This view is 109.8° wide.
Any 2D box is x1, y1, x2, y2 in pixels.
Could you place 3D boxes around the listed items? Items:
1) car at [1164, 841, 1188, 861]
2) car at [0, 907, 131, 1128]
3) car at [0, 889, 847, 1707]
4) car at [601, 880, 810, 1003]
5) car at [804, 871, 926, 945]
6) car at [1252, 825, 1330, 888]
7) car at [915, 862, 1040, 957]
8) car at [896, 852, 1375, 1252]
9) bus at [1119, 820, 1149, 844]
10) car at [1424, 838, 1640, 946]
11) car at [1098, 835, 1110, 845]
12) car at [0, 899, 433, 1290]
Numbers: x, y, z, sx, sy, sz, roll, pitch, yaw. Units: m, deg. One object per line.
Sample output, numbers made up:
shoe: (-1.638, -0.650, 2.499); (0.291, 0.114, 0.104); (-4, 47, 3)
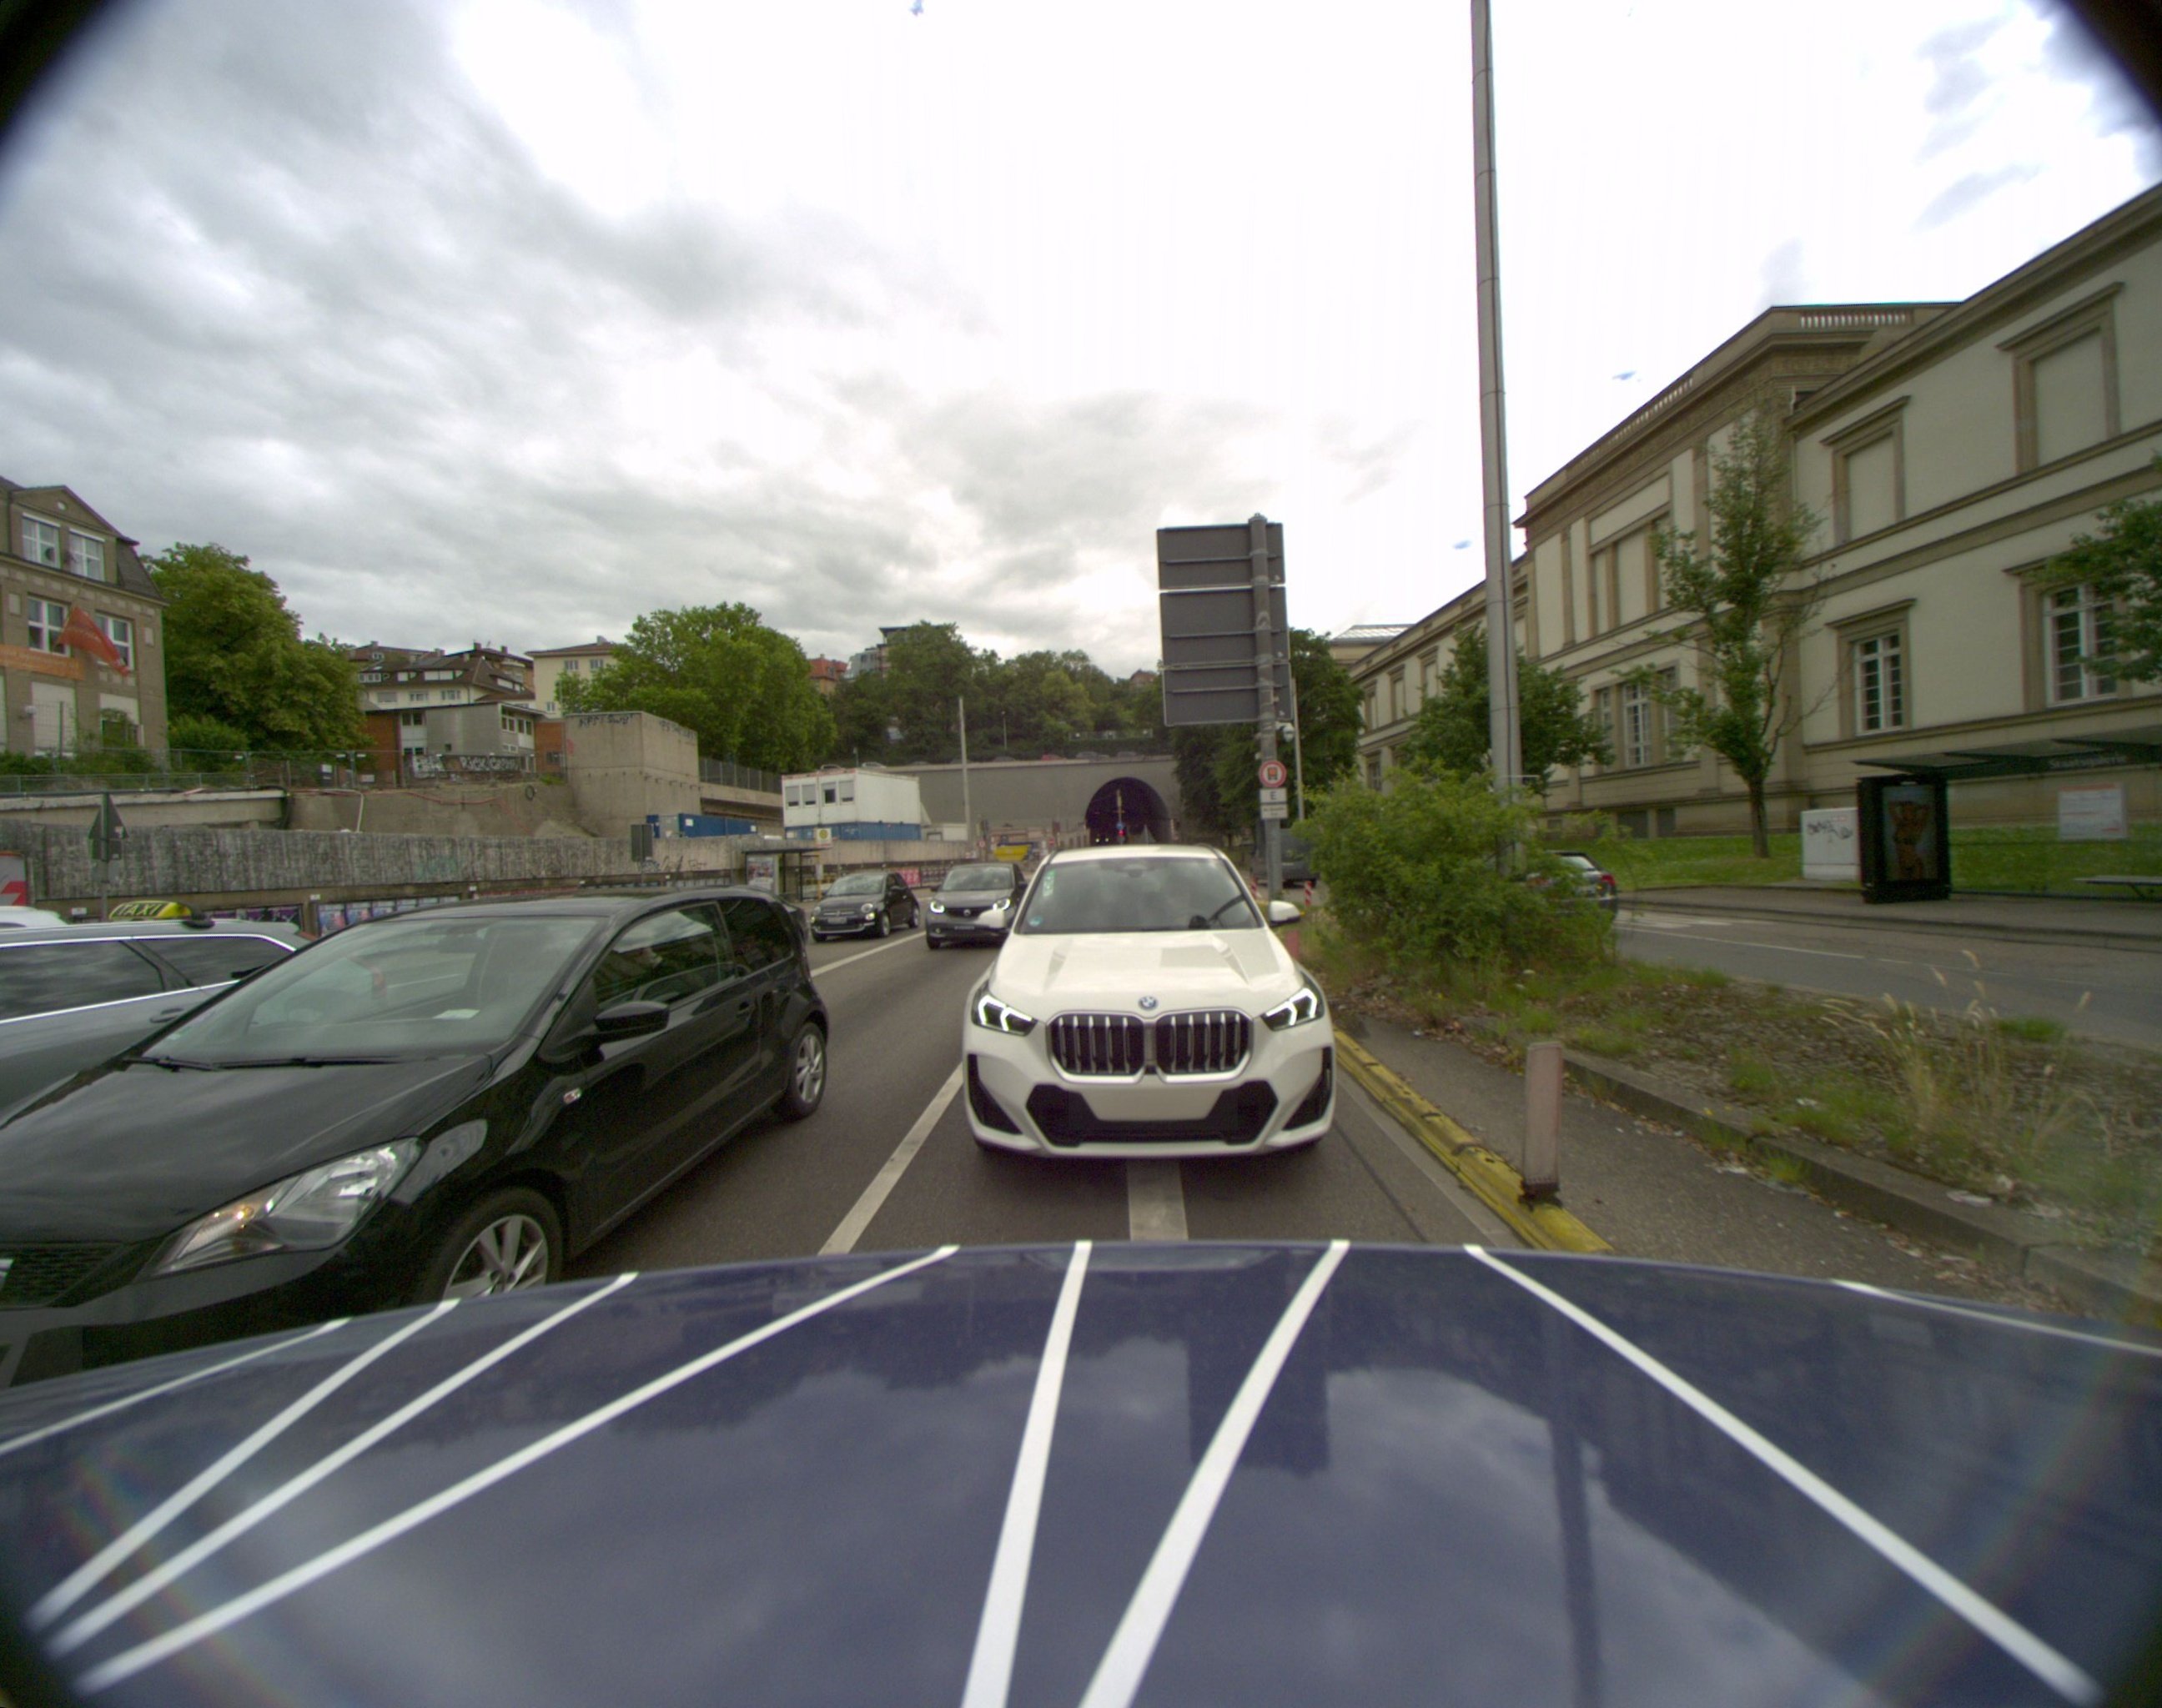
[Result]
car: (8.854, -0.308, 70.881); (1.946, 1.714, 4.000); (-2, 1, 4)
car: (-9.103, 1.322, 4.450); (1.680, 1.615, 4.209); (-2, 1, 1)
car: (-2.568, 1.020, 3.348); (1.829, 1.450, 3.700); (-2, 1, 1)
car: (-5.392, 1.196, 11.289); (1.665, 1.423, 2.714); (-2, 1, 1)
car: (-4.913, 1.167, 17.818); (1.680, 1.358, 3.806); (-2, 1, 1)
car: (9.133, 0.118, 33.431); (2.203, 2.493, 4.759); (-2, 0, 2)
car: (-1.887, 0.983, 14.894); (1.720, 1.535, 3.575); (-2, 0, 3)
car: (0.259, 0.849, 5.081); (1.987, 1.615, 3.670); (-2, 1, 1)
bus: (7.206, -2.965, 104.831); (3.171, 3.129, 9.118); (-2, 1, -1)
car: (7.772, 0.564, 13.550); (1.778, 1.609, 3.804); (-2, 1, 4)
car: (3.504, -2.157, 114.825); (1.680, 1.450, 3.807); (-2, 1, 3)
car: (-5.853, 1.210, 3.308); (1.829, 1.615, 4.808); (-2, 1, 1)
